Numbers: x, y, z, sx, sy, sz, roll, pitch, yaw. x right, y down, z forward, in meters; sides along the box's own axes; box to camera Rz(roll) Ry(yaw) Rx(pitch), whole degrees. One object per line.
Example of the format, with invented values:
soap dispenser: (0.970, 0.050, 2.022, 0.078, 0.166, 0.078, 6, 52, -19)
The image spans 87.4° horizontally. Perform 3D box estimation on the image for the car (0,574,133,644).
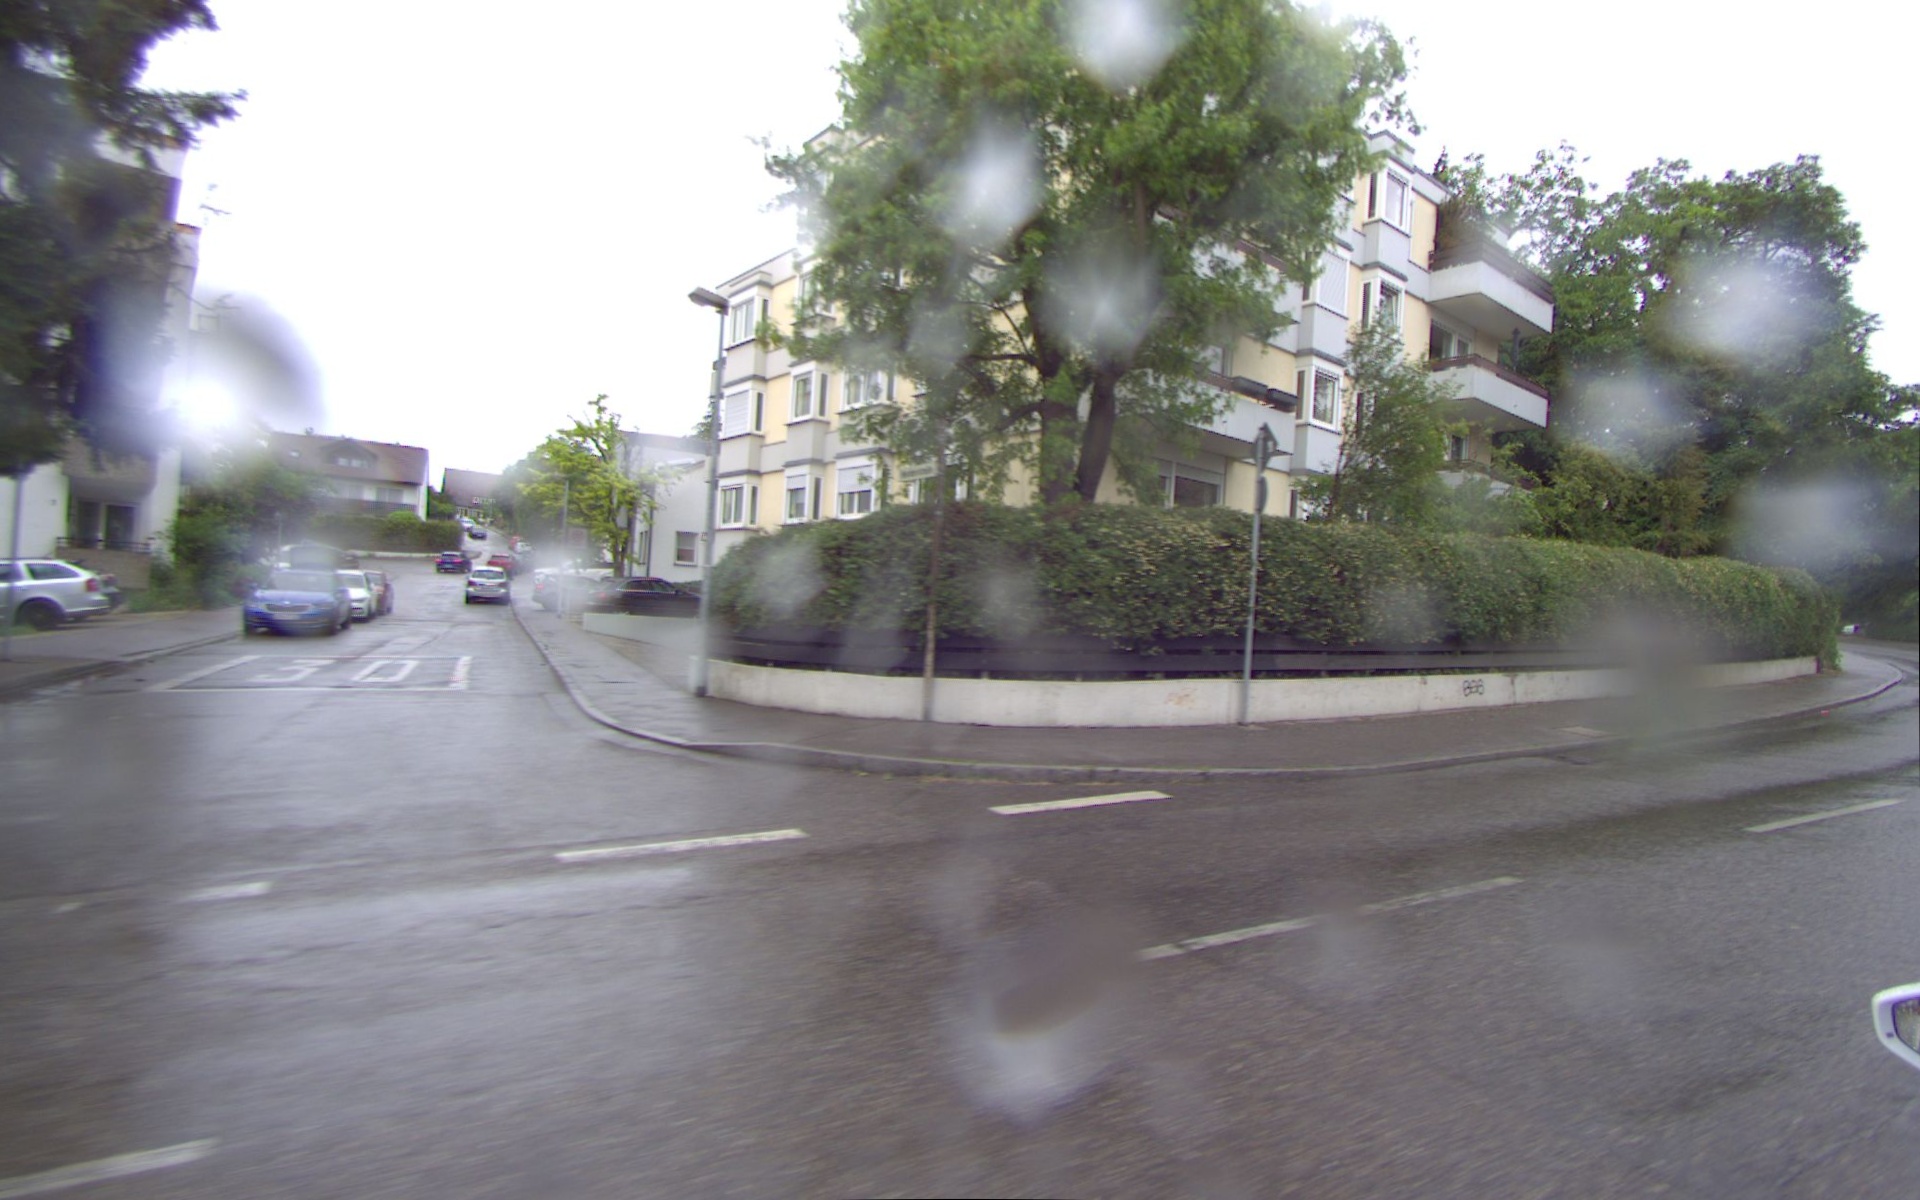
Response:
car: (-21.071, 0.190, 22.413, 3.965, 1.512, 1.978, 1, 0, -39)

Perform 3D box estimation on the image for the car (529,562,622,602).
car: (-22.126, -1.023, 57.871, 4.835, 2.180, 1.986, 1, 1, -27)

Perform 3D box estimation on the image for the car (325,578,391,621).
car: (-20.085, -0.010, 33.547, 1.803, 1.351, 3.356, 1, 0, -31)

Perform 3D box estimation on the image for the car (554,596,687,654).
car: (-11.477, 0.826, 33.982, 3.954, 1.832, 1.983, 1, 1, -31)

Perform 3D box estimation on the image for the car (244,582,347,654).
car: (-15.422, 0.391, 23.452, 1.803, 1.535, 3.356, 1, 0, -31)

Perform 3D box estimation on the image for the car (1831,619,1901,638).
car: (77.927, 2.444, 86.485, 4.081, 1.496, 1.902, 0, 0, 28)

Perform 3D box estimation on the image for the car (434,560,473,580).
car: (-36.573, -2.150, 72.608, 1.793, 1.351, 3.374, 1, 0, -14)

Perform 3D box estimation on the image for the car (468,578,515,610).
car: (-21.174, -0.261, 45.338, 1.801, 1.351, 3.359, 1, 0, -28)

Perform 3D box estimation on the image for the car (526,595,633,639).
car: (-15.955, 0.716, 42.133, 3.954, 1.750, 1.983, 1, 1, -31)

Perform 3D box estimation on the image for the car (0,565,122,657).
car: (-19.238, 0.207, 20.357, 3.354, 1.789, 1.804, 1, 0, -38)

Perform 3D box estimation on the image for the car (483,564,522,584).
car: (-32.515, -1.833, 71.496, 1.792, 1.351, 3.376, 1, 0, -11)

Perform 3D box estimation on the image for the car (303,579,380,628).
car: (-18.039, 0.109, 29.397, 1.803, 1.351, 3.356, 1, 0, -31)
